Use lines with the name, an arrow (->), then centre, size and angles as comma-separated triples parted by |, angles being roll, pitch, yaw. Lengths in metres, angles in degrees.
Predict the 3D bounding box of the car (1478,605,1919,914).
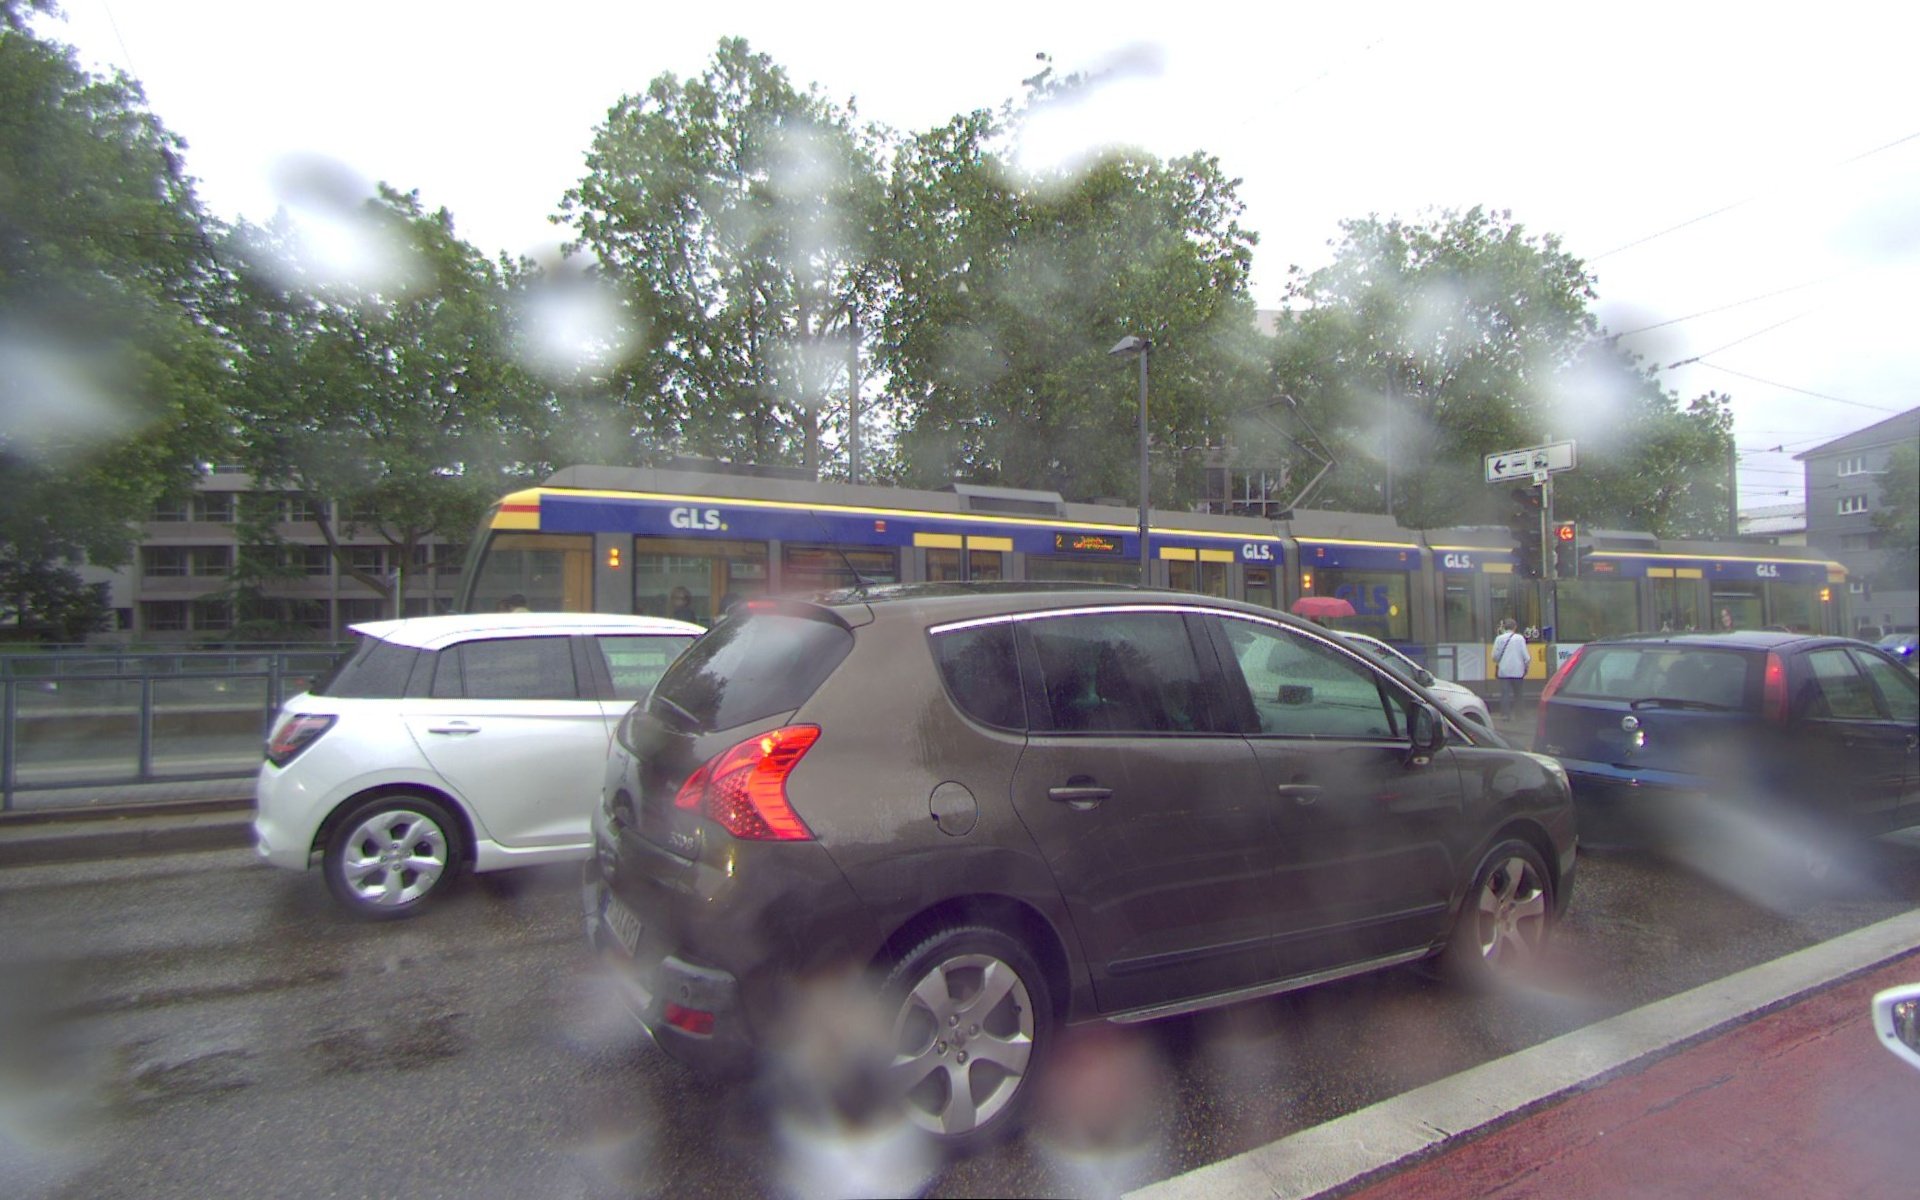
car -> 5.532, 0.876, 6.941 | 3.776, 1.599, 1.719 | 1, -1, -30

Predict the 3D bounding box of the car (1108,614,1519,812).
car -> 3.372, 0.932, 9.444 | 3.737, 1.514, 1.621 | 1, -1, -30

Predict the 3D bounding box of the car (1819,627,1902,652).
car -> 61.314, 2.683, 68.447 | 3.922, 1.550, 1.999 | 0, 0, -3

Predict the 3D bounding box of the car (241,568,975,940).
car -> -1.947, 0.739, 6.145 | 3.791, 1.650, 1.637 | 1, -2, -30

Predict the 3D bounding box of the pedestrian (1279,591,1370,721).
pedestrian -> 5.138, 0.778, 14.169 | 0.888, 1.769, 0.762 | 0, -3, -30

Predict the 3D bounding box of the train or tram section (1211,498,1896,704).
train or tram section -> 12.829, 0.185, 21.158 | 15.269, 3.458, 3.536 | 2, 0, -20

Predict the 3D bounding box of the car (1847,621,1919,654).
car -> 60.866, 2.430, 65.749 | 3.923, 2.040, 1.999 | 1, 0, -3

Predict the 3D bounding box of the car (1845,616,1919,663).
car -> 43.040, 1.810, 46.164 | 3.942, 2.040, 1.990 | 1, 0, -22

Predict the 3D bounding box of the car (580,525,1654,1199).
car -> 0.780, 0.722, 4.111 | 4.124, 1.690, 1.825 | 1, -1, -30

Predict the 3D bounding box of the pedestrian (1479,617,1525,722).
pedestrian -> 8.749, 1.101, 16.216 | 0.616, 1.628, 0.741 | 1, 0, 29

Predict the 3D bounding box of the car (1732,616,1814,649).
car -> 59.645, 2.366, 73.727 | 4.698, 2.228, 1.998 | 0, 1, -6

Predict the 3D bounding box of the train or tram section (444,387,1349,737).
train or tram section -> -0.101, -0.256, 15.156 | 13.499, 3.559, 3.496 | 1, 0, -30

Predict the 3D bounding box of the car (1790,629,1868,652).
car -> 61.327, 2.864, 70.904 | 3.922, 1.516, 1.960 | 0, 0, -3
